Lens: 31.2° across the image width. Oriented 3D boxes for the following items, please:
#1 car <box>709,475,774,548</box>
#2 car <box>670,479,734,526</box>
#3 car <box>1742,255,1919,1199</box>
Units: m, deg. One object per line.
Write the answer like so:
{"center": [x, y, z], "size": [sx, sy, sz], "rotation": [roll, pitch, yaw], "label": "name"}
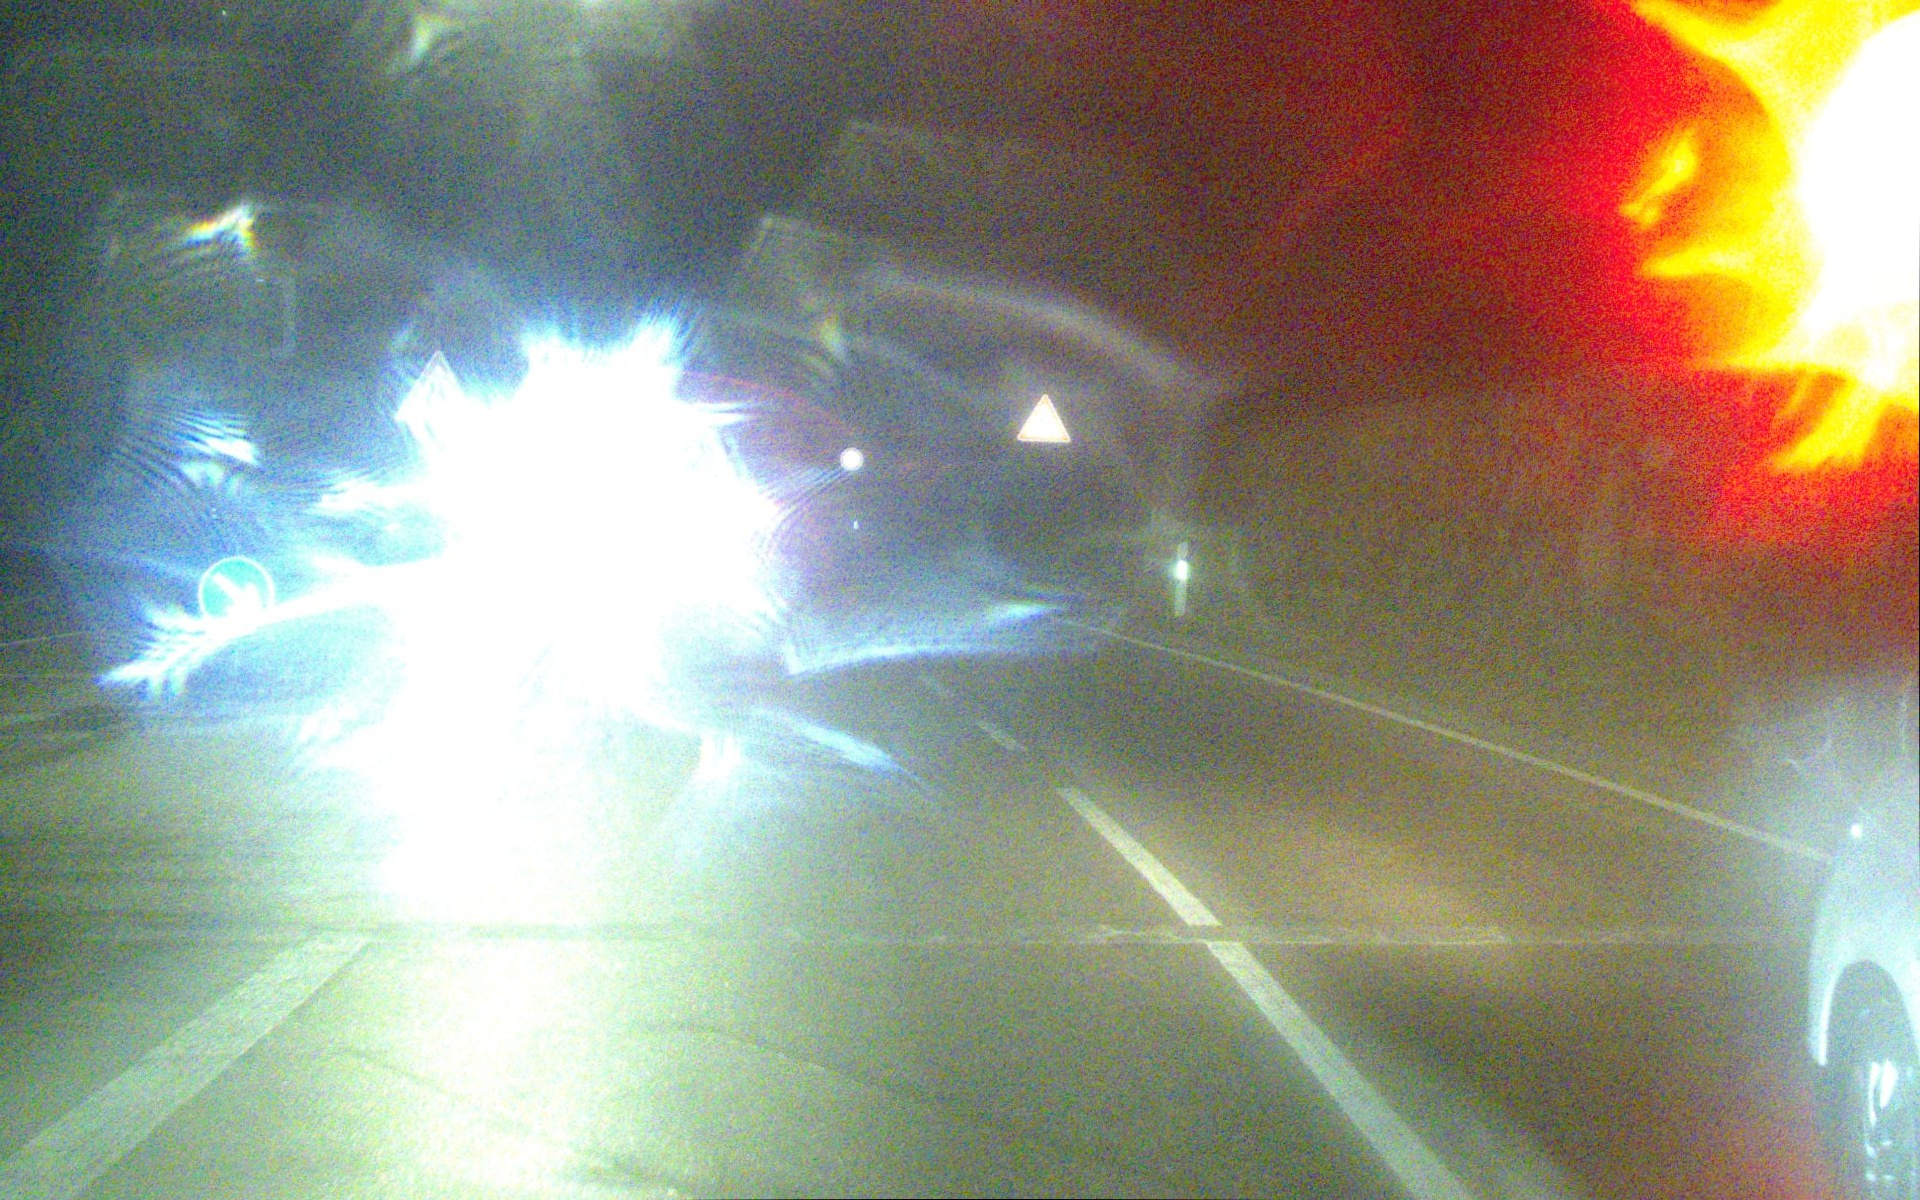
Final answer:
{"center": [-6.219, -2.513, 97.925], "size": [1.791, 2.015, 4.580], "rotation": [1, 1, -4], "label": "car"}
{"center": [-10.763, -4.050, 143.508], "size": [1.994, 1.711, 3.999], "rotation": [4, 0, 4], "label": "car"}
{"center": [2.587, 0.440, 4.850], "size": [1.791, 2.015, 4.580], "rotation": [1, 1, -2], "label": "car"}
